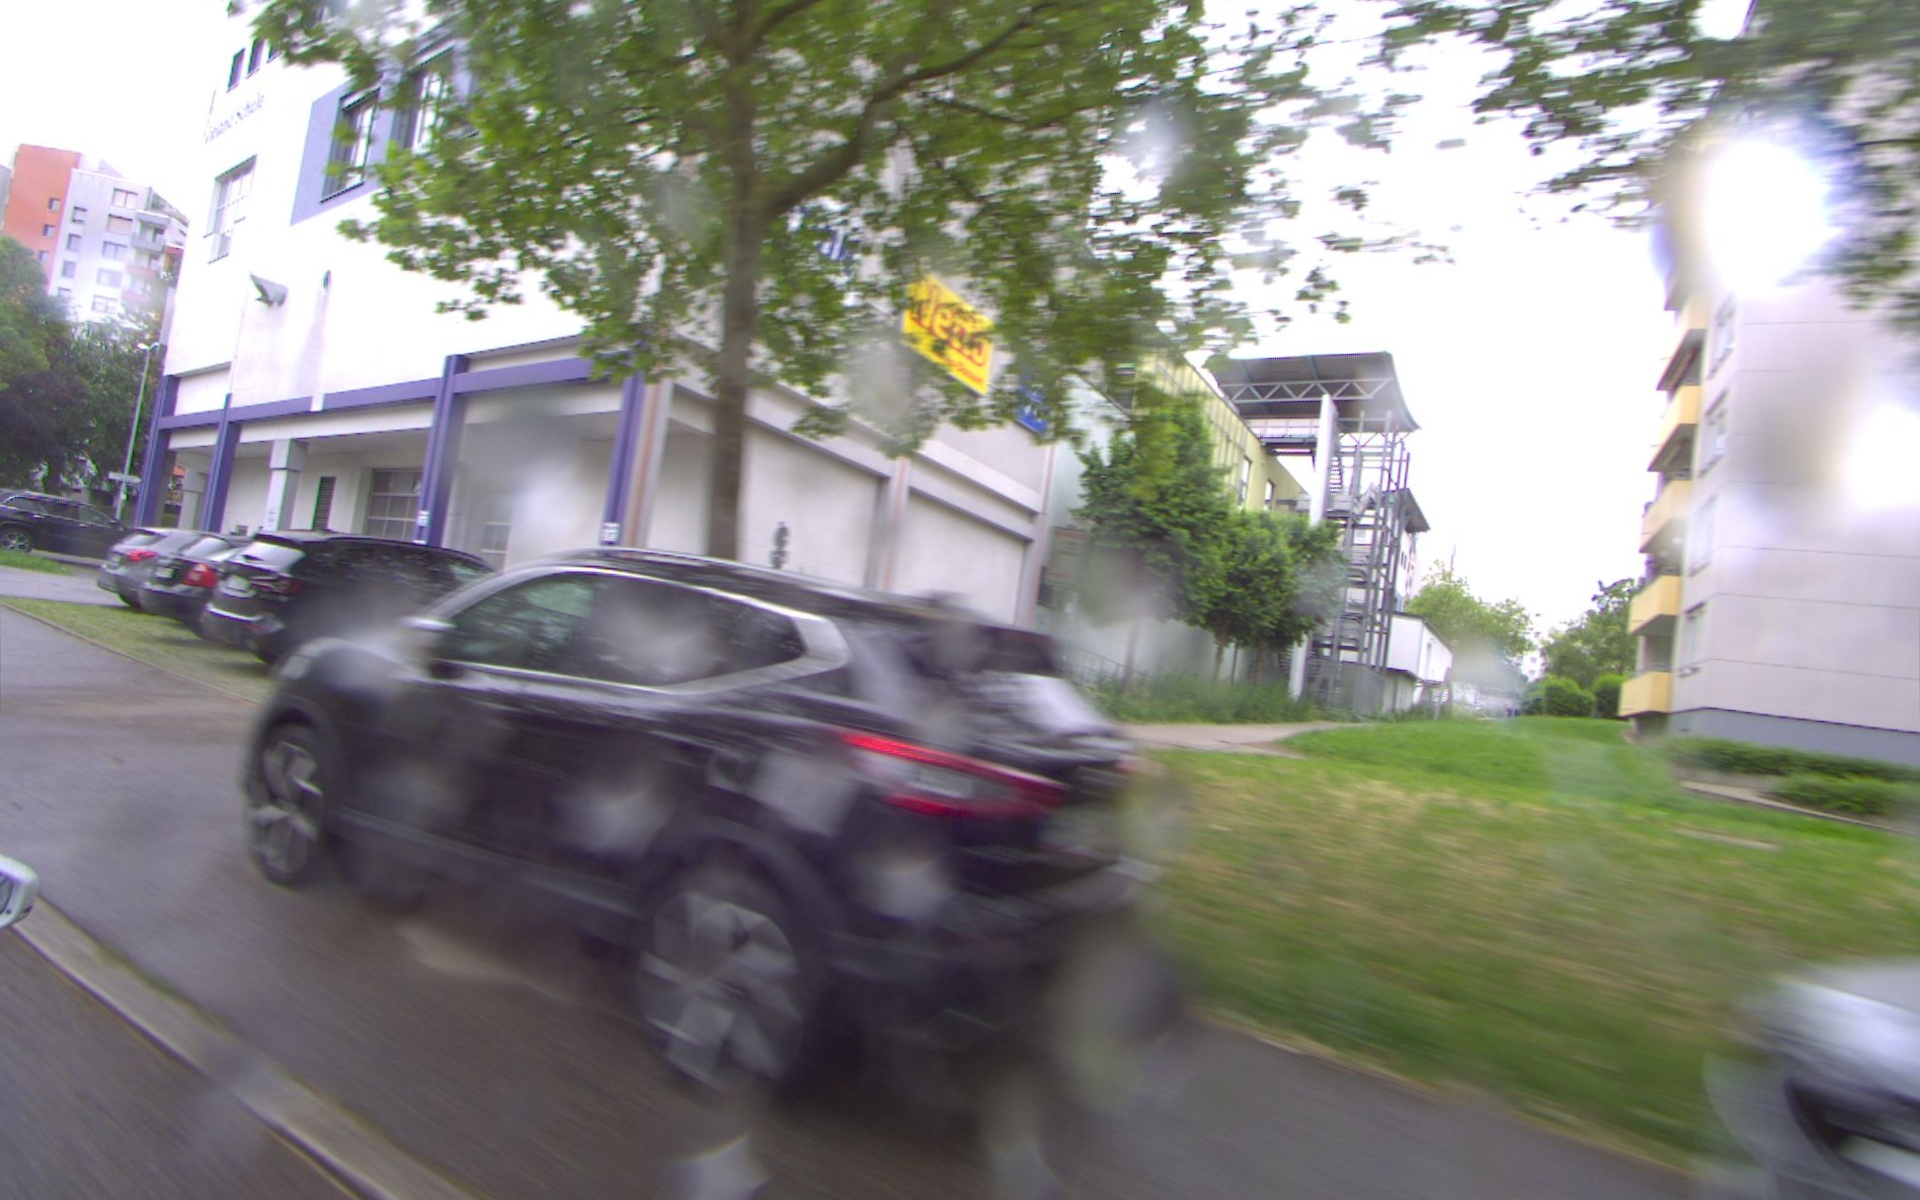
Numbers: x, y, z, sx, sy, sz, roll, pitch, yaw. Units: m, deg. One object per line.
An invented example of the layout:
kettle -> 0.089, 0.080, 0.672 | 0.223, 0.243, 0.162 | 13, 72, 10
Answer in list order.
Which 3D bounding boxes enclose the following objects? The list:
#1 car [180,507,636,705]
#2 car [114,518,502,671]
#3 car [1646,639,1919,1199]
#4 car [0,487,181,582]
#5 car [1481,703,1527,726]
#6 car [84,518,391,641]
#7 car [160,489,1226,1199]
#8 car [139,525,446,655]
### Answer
car -> -6.475, 0.209, 12.395 | 1.738, 1.698, 4.482 | 8, -3, 32
car -> -8.872, 0.019, 14.088 | 1.693, 1.494, 4.117 | 5, -4, 32
car -> 3.643, 1.146, 1.394 | 4.181, 1.610, 1.731 | 6, -2, 31
car -> -24.784, -1.861, 27.994 | 1.801, 1.777, 4.387 | 9, -4, 37
car -> 66.789, 14.051, 123.509 | 4.763, 1.938, 1.998 | 6, -3, 33
car -> -12.538, -0.304, 17.675 | 1.696, 1.468, 3.942 | 6, -4, 38
car -> -1.323, 0.585, 4.316 | 4.298, 1.620, 1.805 | 6, -2, 32
car -> -10.580, -0.098, 16.181 | 1.694, 1.468, 3.623 | 6, -4, 34
